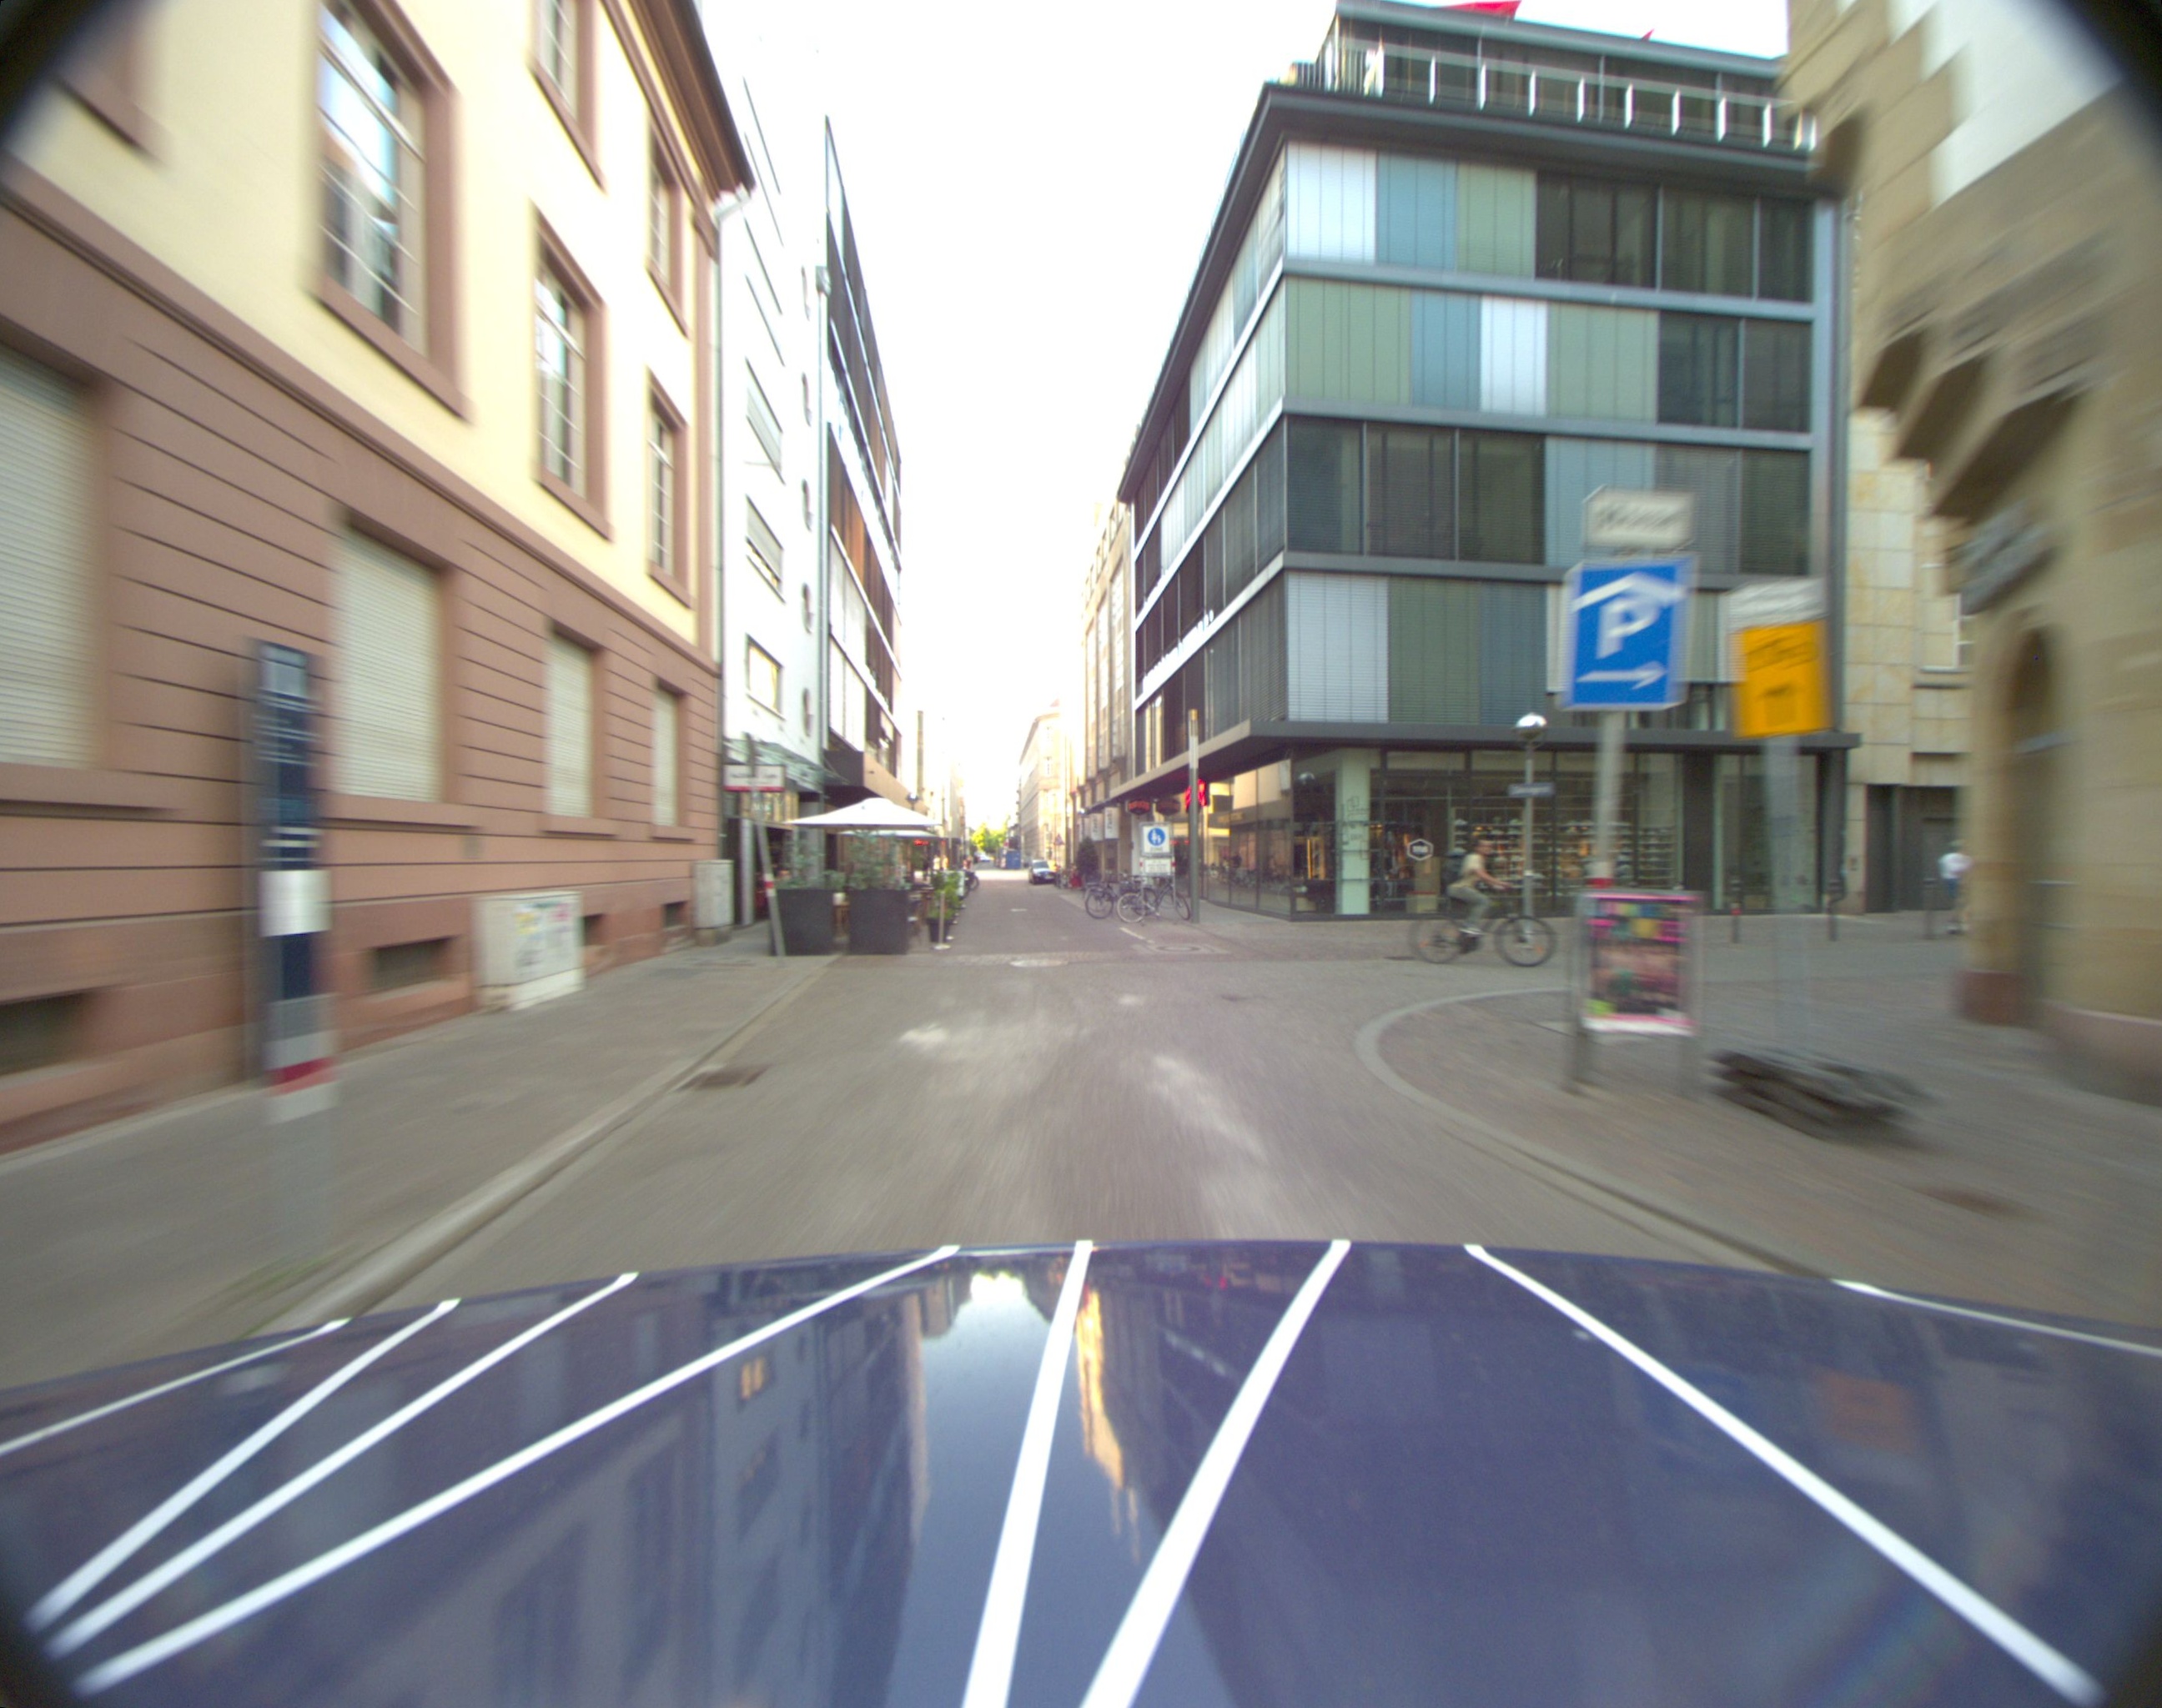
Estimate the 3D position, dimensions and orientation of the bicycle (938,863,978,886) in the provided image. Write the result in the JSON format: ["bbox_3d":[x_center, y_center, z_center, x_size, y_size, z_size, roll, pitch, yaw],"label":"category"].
[{"bbox_3d":[-6.380,1.055,39.622,2.040,1.161,0.618,0,1,-8],"label":"bicycle"}]

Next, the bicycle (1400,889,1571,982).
[{"bbox_3d":[5.444,1.067,10.368,2.000,1.121,0.701,0,1,23],"label":"bicycle"}]

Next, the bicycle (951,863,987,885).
[{"bbox_3d":[-6.363,1.150,43.240,2.040,1.209,0.618,0,1,-8],"label":"bicycle"}]

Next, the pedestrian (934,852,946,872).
[{"bbox_3d":[-11.452,0.668,61.682,0.781,1.612,0.637,1,2,34],"label":"pedestrian"}]

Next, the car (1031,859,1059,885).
[{"bbox_3d":[-2.155,1.040,45.441,1.603,1.415,3.602,0,0,-3],"label":"car"}]

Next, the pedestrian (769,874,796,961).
[{"bbox_3d":[-4.650,0.974,11.844,0.363,1.298,0.494,-1,1,-21],"label":"pedestrian"}]

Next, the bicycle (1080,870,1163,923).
[{"bbox_3d":[0.991,1.015,18.527,1.903,1.174,0.517,-3,0,-8],"label":"bicycle"}]

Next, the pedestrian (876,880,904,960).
[{"bbox_3d":[-3.000,1.027,11.902,0.401,1.206,0.382,0,1,-17],"label":"pedestrian"}]

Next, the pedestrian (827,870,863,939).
[{"bbox_3d":[-5.093,1.072,16.444,0.576,1.412,0.867,0,1,-6],"label":"pedestrian"}]

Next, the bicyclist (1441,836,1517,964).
[{"bbox_3d":[5.411,0.601,10.371,0.867,1.660,0.677,0,1,23],"label":"bicyclist"}]

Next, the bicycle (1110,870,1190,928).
[{"bbox_3d":[1.550,0.995,17.077,1.671,1.197,0.509,-2,1,-8],"label":"bicycle"}]

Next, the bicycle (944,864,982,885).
[{"bbox_3d":[-6.563,1.132,42.283,2.040,1.161,0.618,1,1,-8],"label":"bicycle"}]

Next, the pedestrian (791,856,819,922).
[{"bbox_3d":[-7.506,0.931,20.688,0.640,1.762,0.601,0,1,-12],"label":"pedestrian"}]

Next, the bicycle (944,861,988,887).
[{"bbox_3d":[-5.601,0.963,36.971,2.040,1.161,0.665,2,0,-8],"label":"bicycle"}]

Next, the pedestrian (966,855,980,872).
[{"bbox_3d":[-10.433,0.898,73.570,0.917,1.563,0.995,0,1,37],"label":"pedestrian"}]

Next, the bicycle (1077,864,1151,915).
[{"bbox_3d":[0.916,0.969,21.253,1.903,1.262,0.538,-4,1,-7],"label":"bicycle"}]

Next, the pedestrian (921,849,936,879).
[{"bbox_3d":[-9.480,0.608,47.217,0.804,1.826,0.675,0,1,-5],"label":"pedestrian"}]

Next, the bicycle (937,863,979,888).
[{"bbox_3d":[-6.249,1.096,38.560,2.040,1.161,0.618,3,0,-8],"label":"bicycle"}]

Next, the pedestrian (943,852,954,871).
[{"bbox_3d":[-11.028,0.617,63.231,0.767,1.628,0.667,-1,2,-36],"label":"pedestrian"}]
